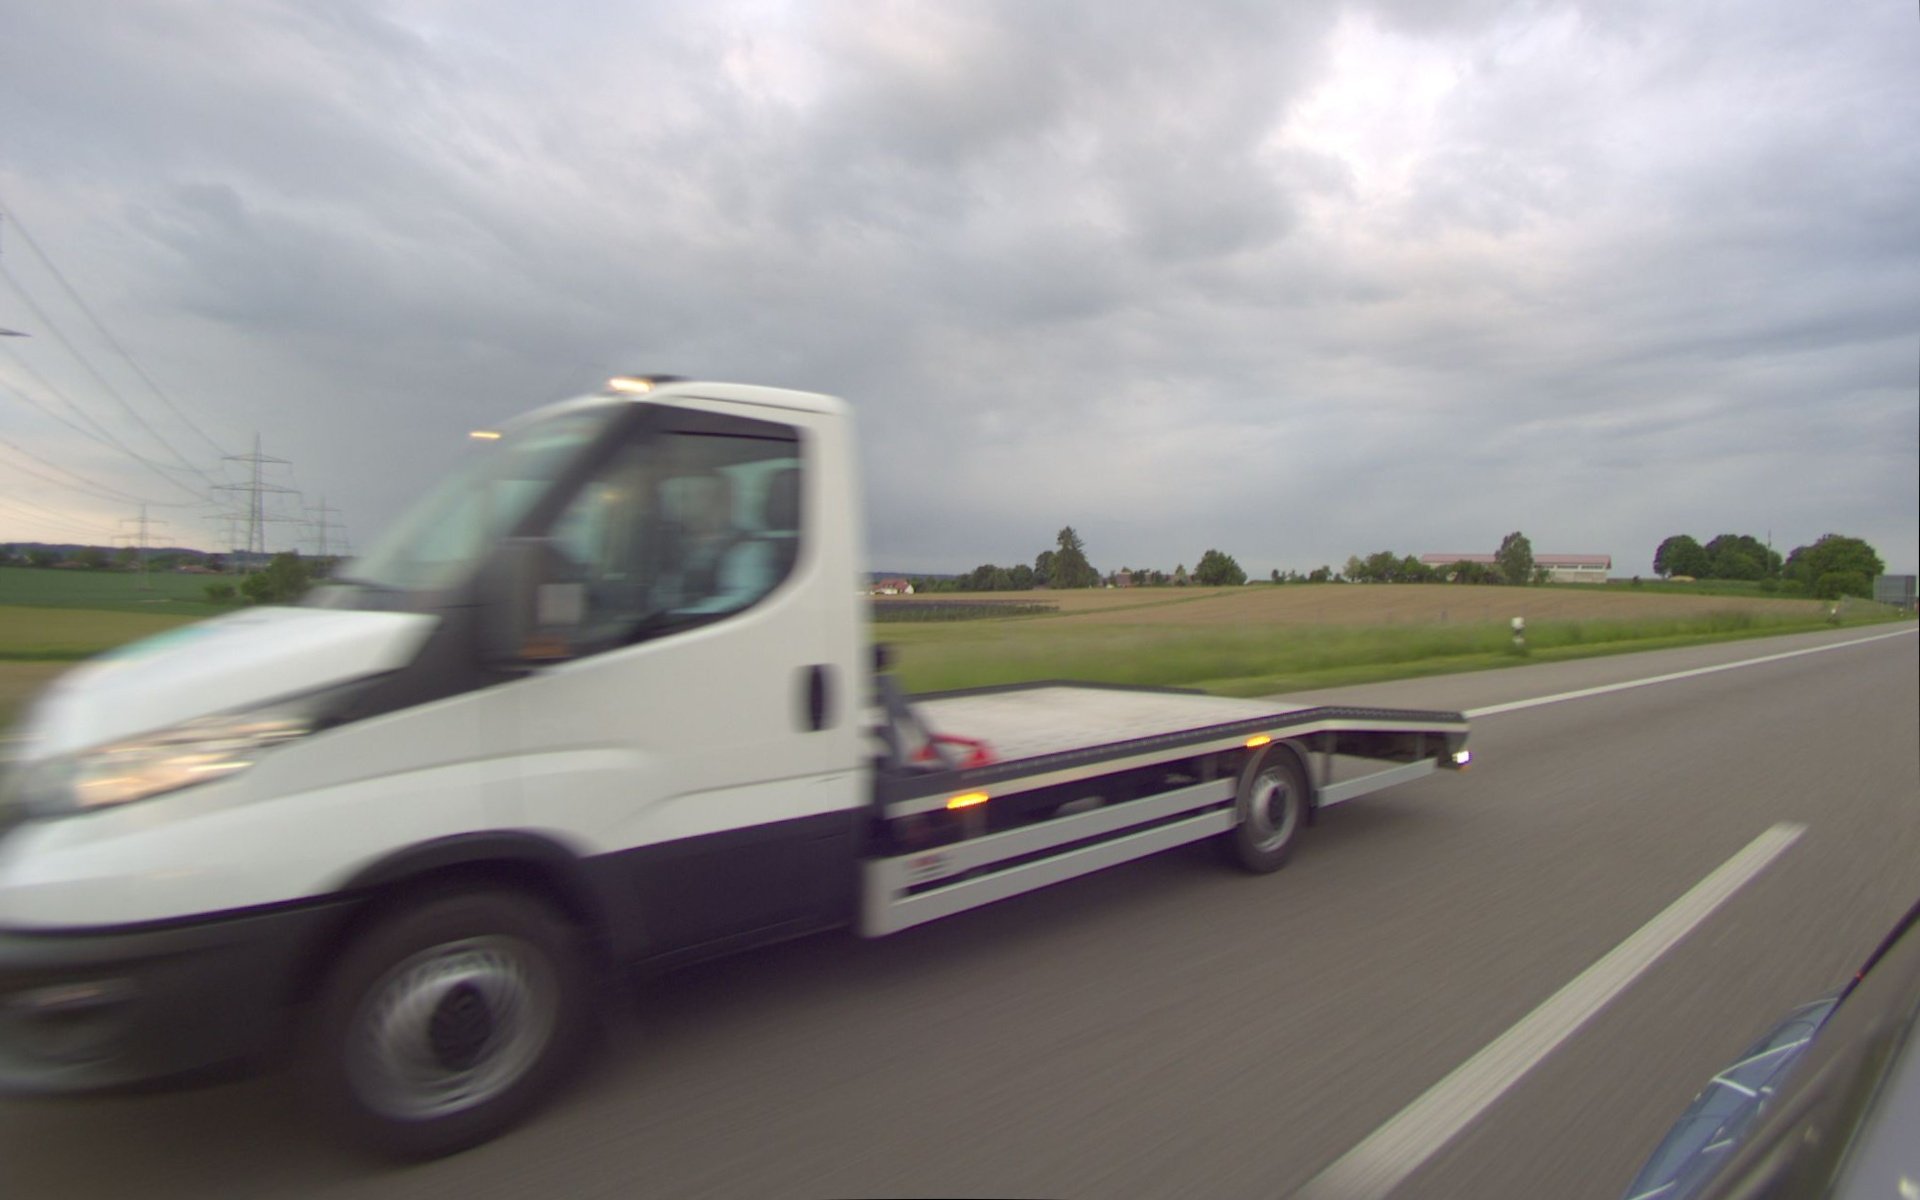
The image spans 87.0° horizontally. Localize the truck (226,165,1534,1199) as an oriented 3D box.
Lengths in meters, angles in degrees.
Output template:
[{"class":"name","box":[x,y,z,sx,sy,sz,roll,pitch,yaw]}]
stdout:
[{"class":"truck","box":[0.664,0.190,5.668,7.564,2.390,2.174,0,0,-42]}]
